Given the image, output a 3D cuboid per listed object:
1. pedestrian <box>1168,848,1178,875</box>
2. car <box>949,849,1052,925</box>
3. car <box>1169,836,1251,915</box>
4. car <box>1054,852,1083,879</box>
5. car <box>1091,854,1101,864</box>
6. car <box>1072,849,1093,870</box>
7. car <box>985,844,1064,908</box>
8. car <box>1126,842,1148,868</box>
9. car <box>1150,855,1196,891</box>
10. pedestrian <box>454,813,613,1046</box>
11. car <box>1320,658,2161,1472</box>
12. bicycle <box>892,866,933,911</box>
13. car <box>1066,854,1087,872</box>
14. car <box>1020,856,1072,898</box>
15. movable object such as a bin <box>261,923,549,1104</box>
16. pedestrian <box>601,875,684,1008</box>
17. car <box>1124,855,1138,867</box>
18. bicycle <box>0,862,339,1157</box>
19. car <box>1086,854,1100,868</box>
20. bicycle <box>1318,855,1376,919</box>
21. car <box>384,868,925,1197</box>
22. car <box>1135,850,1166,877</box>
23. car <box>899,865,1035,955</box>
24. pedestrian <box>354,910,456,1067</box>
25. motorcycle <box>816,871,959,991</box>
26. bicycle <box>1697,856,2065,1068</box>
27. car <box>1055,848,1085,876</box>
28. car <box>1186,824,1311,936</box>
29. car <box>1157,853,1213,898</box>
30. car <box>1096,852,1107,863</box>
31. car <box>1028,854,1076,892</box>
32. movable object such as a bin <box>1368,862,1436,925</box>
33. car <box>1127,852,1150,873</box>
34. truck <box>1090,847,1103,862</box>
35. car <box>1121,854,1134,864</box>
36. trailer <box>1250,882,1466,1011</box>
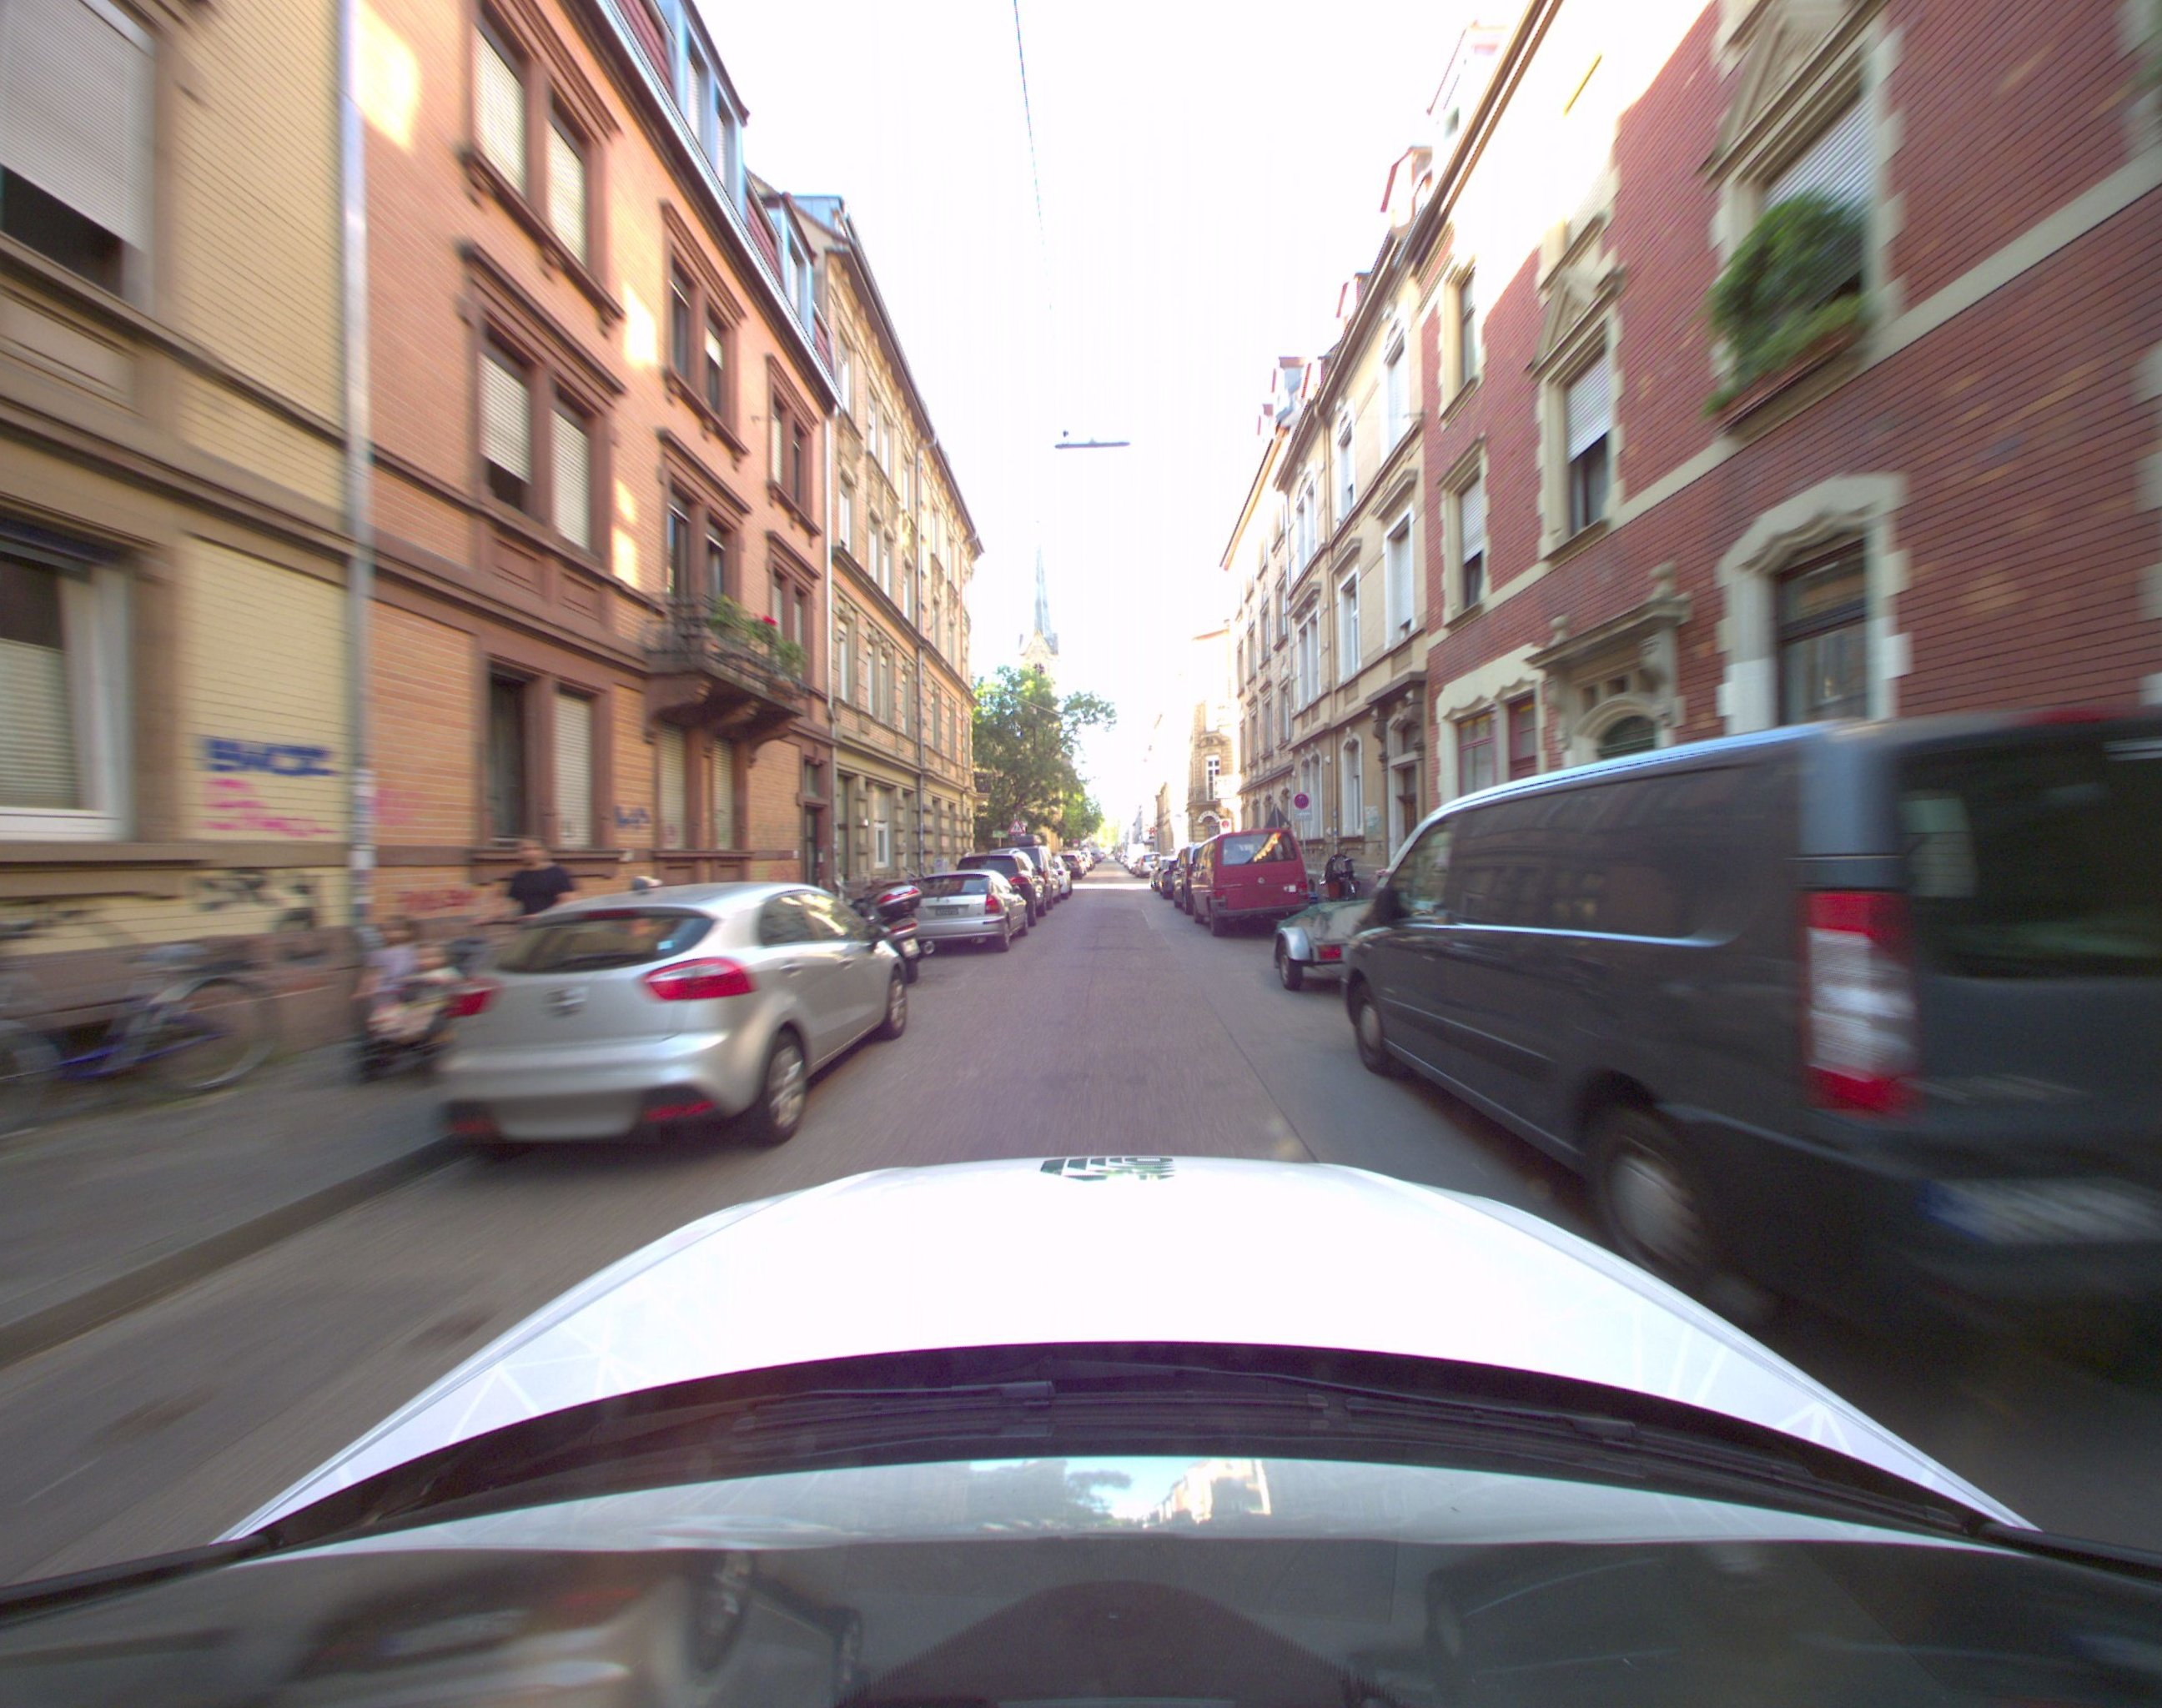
[{"bbox_3d":[6.098,0.492,53.677,0.571,1.732,0.665,-2,0,7],"label":"pedestrian"},{"bbox_3d":[-1.808,0.704,19.639,1.780,1.624,4.611,0,0,3],"label":"car"},{"bbox_3d":[3.451,0.536,22.499,1.762,1.961,4.266,0,0,2],"label":"car"},{"bbox_3d":[-0.787,0.720,52.660,1.735,1.646,4.288,-1,0,0],"label":"car"},{"bbox_3d":[3.011,0.956,162.202,1.869,1.796,4.000,-1,0,1],"label":"car"},{"bbox_3d":[0.186,0.533,79.906,1.857,1.957,4.612,-3,0,1],"label":"car"},{"bbox_3d":[-1.625,0.609,25.004,1.885,1.784,4.611,0,0,3],"label":"car"},{"bbox_3d":[5.738,0.081,83.788,2.060,2.611,5.891,-1,0,2],"label":"car"},{"bbox_3d":[3.943,0.766,35.448,1.699,1.459,4.514,0,0,2],"label":"car"},{"bbox_3d":[-4.450,0.575,6.686,0.683,1.765,0.887,-1,0,-1],"label":"pedestrian"},{"bbox_3d":[2.792,0.520,4.285,1.838,1.983,4.578,1,0,2],"label":"car"},{"bbox_3d":[-4.625,0.921,22.443,0.664,1.125,1.786,1,0,3],"label":"bicycle"},{"bbox_3d":[-0.359,0.828,74.558,1.735,1.586,3.871,-1,0,2],"label":"car"},{"bbox_3d":[-1.198,0.774,29.655,1.668,1.420,3.875,0,0,1],"label":"car"},{"bbox_3d":[-4.459,1.000,5.526,0.759,0.932,1.415,-1,0,0],"label":"movable object such as a bin"},{"bbox_3d":[-4.455,0.867,8.303,0.448,1.284,0.647,0,-1,2],"label":"pedestrian"},{"bbox_3d":[6.129,0.819,99.724,1.597,1.505,4.004,0,0,3],"label":"car"},{"bbox_3d":[-5.510,0.772,4.827,0.522,1.425,1.713,2,0,3],"label":"bicycle"},{"bbox_3d":[1.524,0.834,100.816,1.594,1.614,3.809,-3,0,1],"label":"car"},{"bbox_3d":[5.918,0.699,18.206,0.724,1.304,1.693,-4,0,2],"label":"bicycle"},{"bbox_3d":[-2.417,0.885,5.878,1.668,1.419,4.001,-3,0,1],"label":"car"},{"bbox_3d":[4.623,0.610,54.271,1.698,1.714,3.937,-2,0,0],"label":"car"},{"bbox_3d":[-1.903,0.893,14.721,1.692,1.314,4.002,2,0,2],"label":"car"},{"bbox_3d":[-4.980,0.972,6.016,0.393,1.086,0.431,0,0,-3],"label":"pedestrian"},{"bbox_3d":[-2.583,0.953,10.648,0.849,1.360,2.170,-3,0,-40],"label":"motorcycle"},{"bbox_3d":[5.525,0.655,5.858,0.665,1.222,1.993,-4,-1,3],"label":"bicycle"},{"bbox_3d":[-0.754,0.554,58.216,1.838,1.862,4.469,-1,0,3],"label":"car"},{"bbox_3d":[3.331,0.464,17.056,1.825,2.013,4.744,0,0,2],"label":"car"},{"bbox_3d":[3.718,0.733,29.658,1.660,1.479,3.890,-1,0,2],"label":"car"},{"bbox_3d":[3.547,0.557,140.035,1.868,1.796,4.002,-1,0,2],"label":"car"},{"bbox_3d":[-1.179,0.764,34.733,1.716,1.481,4.092,0,0,2],"label":"car"},{"bbox_3d":[5.824,0.707,14.818,0.893,1.061,0.722,-4,0,-1],"label":"movable object such as a bin"},{"bbox_3d":[4.848,0.712,68.952,1.800,1.690,4.217,1,-1,3],"label":"car"},{"bbox_3d":[3.407,0.071,178.600,2.522,3.282,6.998,-1,0,2],"label":"truck"},{"bbox_3d":[7.327,0.792,128.106,1.890,1.488,3.872,-1,0,2],"label":"car"},{"bbox_3d":[3.057,0.969,9.580,1.500,1.113,3.039,2,0,0],"label":"trailer"}]
